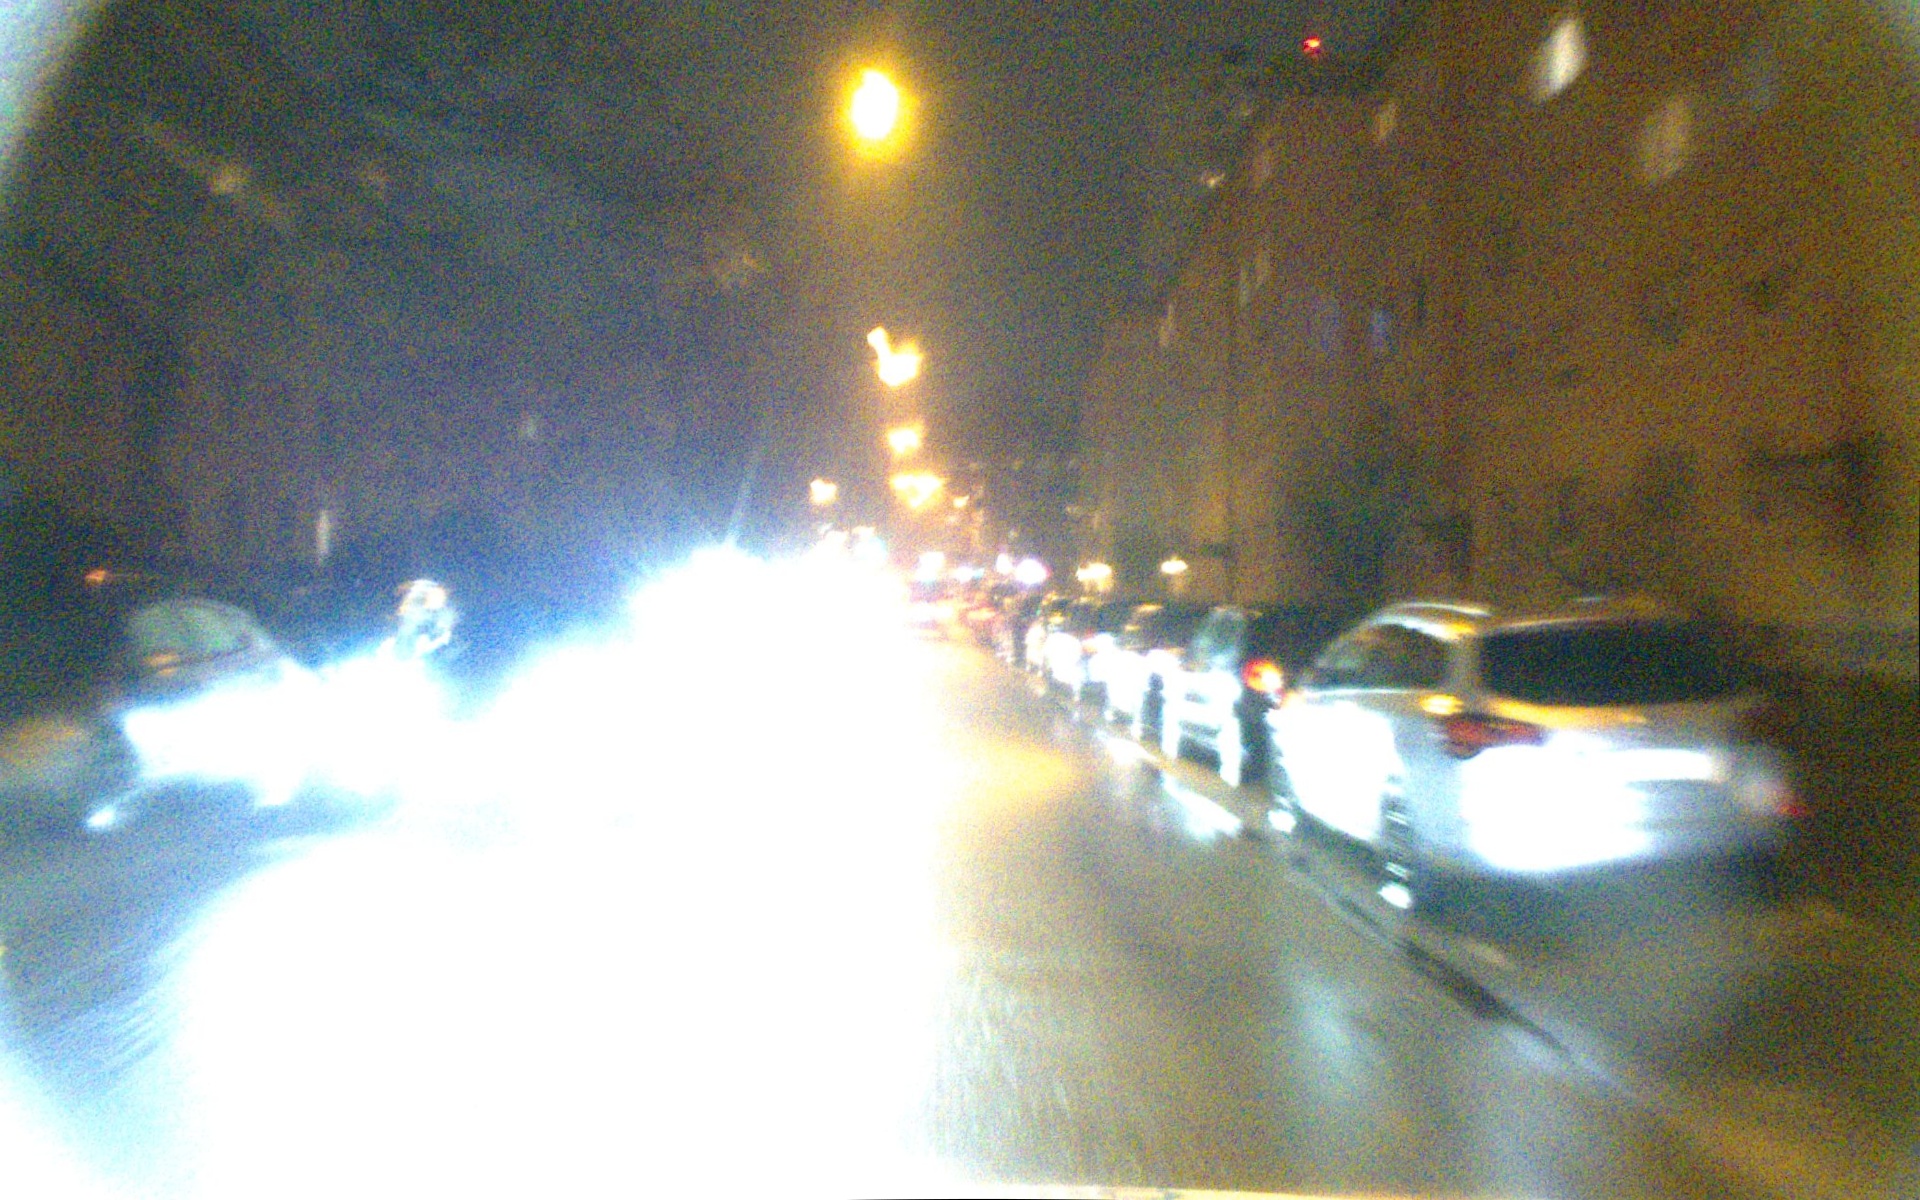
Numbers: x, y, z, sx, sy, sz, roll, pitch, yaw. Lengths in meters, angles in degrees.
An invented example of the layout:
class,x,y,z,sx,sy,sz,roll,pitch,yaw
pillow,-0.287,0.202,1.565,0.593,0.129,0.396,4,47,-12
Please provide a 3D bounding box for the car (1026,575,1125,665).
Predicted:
class,x,y,z,sx,sy,sz,roll,pitch,yaw
car,2.195,0.338,32.154,1.505,1.589,3.803,-2,1,-2

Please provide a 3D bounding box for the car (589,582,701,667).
class,x,y,z,sx,sy,sz,roll,pitch,yaw
car,-6.383,0.449,33.883,1.544,1.487,3.999,-5,1,-2

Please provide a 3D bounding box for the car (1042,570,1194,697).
class,x,y,z,sx,sy,sz,roll,pitch,yaw
car,2.330,0.445,25.308,1.784,1.702,3.999,-2,1,-2

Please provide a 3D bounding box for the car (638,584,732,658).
class,x,y,z,sx,sy,sz,roll,pitch,yaw
car,-6.358,0.447,38.594,1.544,1.487,3.999,-5,1,-2

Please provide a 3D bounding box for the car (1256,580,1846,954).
class,x,y,z,sx,sy,sz,roll,pitch,yaw
car,2.887,0.672,9.203,1.595,1.492,4.510,-3,1,0

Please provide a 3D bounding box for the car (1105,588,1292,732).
class,x,y,z,sx,sy,sz,roll,pitch,yaw
car,2.643,0.608,19.048,1.465,1.412,3.746,-3,1,-1

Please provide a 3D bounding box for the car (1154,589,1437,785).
class,x,y,z,sx,sy,sz,roll,pitch,yaw
car,2.801,0.654,14.589,1.571,1.412,3.792,-3,0,-2

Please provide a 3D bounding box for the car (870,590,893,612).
class,x,y,z,sx,sy,sz,roll,pitch,yaw
car,-6.707,0.085,141.555,1.776,1.739,3.803,-2,1,-2

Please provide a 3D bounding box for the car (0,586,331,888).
class,x,y,z,sx,sy,sz,roll,pitch,yaw
car,-5.783,0.743,10.794,1.579,1.562,4.301,-3,1,1

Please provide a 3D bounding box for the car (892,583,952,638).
class,x,y,z,sx,sy,sz,roll,pitch,yaw
car,-1.291,0.321,56.504,1.953,1.713,4.000,-1,2,-1

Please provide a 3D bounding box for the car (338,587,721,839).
class,x,y,z,sx,sy,sz,roll,pitch,yaw
car,-2.904,0.663,12.187,1.820,1.486,4.521,0,1,-3

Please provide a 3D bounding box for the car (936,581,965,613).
class,x,y,z,sx,sy,sz,roll,pitch,yaw
car,-0.549,-0.197,93.438,1.505,1.739,3.803,-2,1,-2

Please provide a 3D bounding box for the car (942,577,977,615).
class,x,y,z,sx,sy,sz,roll,pitch,yaw
car,-0.042,-0.206,79.668,1.505,1.739,3.803,-2,1,-2

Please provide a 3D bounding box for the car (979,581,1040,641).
class,x,y,z,sx,sy,sz,roll,pitch,yaw
car,1.410,0.290,48.019,1.505,1.589,3.803,-2,1,-2

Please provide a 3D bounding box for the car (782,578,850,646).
class,x,y,z,sx,sy,sz,roll,pitch,yaw
car,-3.957,0.317,45.949,1.655,1.816,3.999,0,0,-2

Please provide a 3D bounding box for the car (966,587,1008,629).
class,x,y,z,sx,sy,sz,roll,pitch,yaw
car,1.083,0.293,67.983,1.505,1.589,3.803,-2,1,-2

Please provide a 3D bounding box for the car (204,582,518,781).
class,x,y,z,sx,sy,sz,roll,pitch,yaw
car,-5.852,0.689,16.743,1.581,1.598,4.450,-5,1,-2

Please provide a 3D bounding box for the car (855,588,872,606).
class,x,y,z,sx,sy,sz,roll,pitch,yaw
car,-9.883,-0.270,169.777,1.505,1.739,3.803,-2,1,-2

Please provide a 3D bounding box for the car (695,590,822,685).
class,x,y,z,sx,sy,sz,roll,pitch,yaw
car,-3.418,0.588,28.814,1.784,1.489,4.864,0,1,-2

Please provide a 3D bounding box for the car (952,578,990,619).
class,x,y,z,sx,sy,sz,roll,pitch,yaw
car,0.467,-0.089,74.484,1.505,1.739,3.803,-2,1,-2
